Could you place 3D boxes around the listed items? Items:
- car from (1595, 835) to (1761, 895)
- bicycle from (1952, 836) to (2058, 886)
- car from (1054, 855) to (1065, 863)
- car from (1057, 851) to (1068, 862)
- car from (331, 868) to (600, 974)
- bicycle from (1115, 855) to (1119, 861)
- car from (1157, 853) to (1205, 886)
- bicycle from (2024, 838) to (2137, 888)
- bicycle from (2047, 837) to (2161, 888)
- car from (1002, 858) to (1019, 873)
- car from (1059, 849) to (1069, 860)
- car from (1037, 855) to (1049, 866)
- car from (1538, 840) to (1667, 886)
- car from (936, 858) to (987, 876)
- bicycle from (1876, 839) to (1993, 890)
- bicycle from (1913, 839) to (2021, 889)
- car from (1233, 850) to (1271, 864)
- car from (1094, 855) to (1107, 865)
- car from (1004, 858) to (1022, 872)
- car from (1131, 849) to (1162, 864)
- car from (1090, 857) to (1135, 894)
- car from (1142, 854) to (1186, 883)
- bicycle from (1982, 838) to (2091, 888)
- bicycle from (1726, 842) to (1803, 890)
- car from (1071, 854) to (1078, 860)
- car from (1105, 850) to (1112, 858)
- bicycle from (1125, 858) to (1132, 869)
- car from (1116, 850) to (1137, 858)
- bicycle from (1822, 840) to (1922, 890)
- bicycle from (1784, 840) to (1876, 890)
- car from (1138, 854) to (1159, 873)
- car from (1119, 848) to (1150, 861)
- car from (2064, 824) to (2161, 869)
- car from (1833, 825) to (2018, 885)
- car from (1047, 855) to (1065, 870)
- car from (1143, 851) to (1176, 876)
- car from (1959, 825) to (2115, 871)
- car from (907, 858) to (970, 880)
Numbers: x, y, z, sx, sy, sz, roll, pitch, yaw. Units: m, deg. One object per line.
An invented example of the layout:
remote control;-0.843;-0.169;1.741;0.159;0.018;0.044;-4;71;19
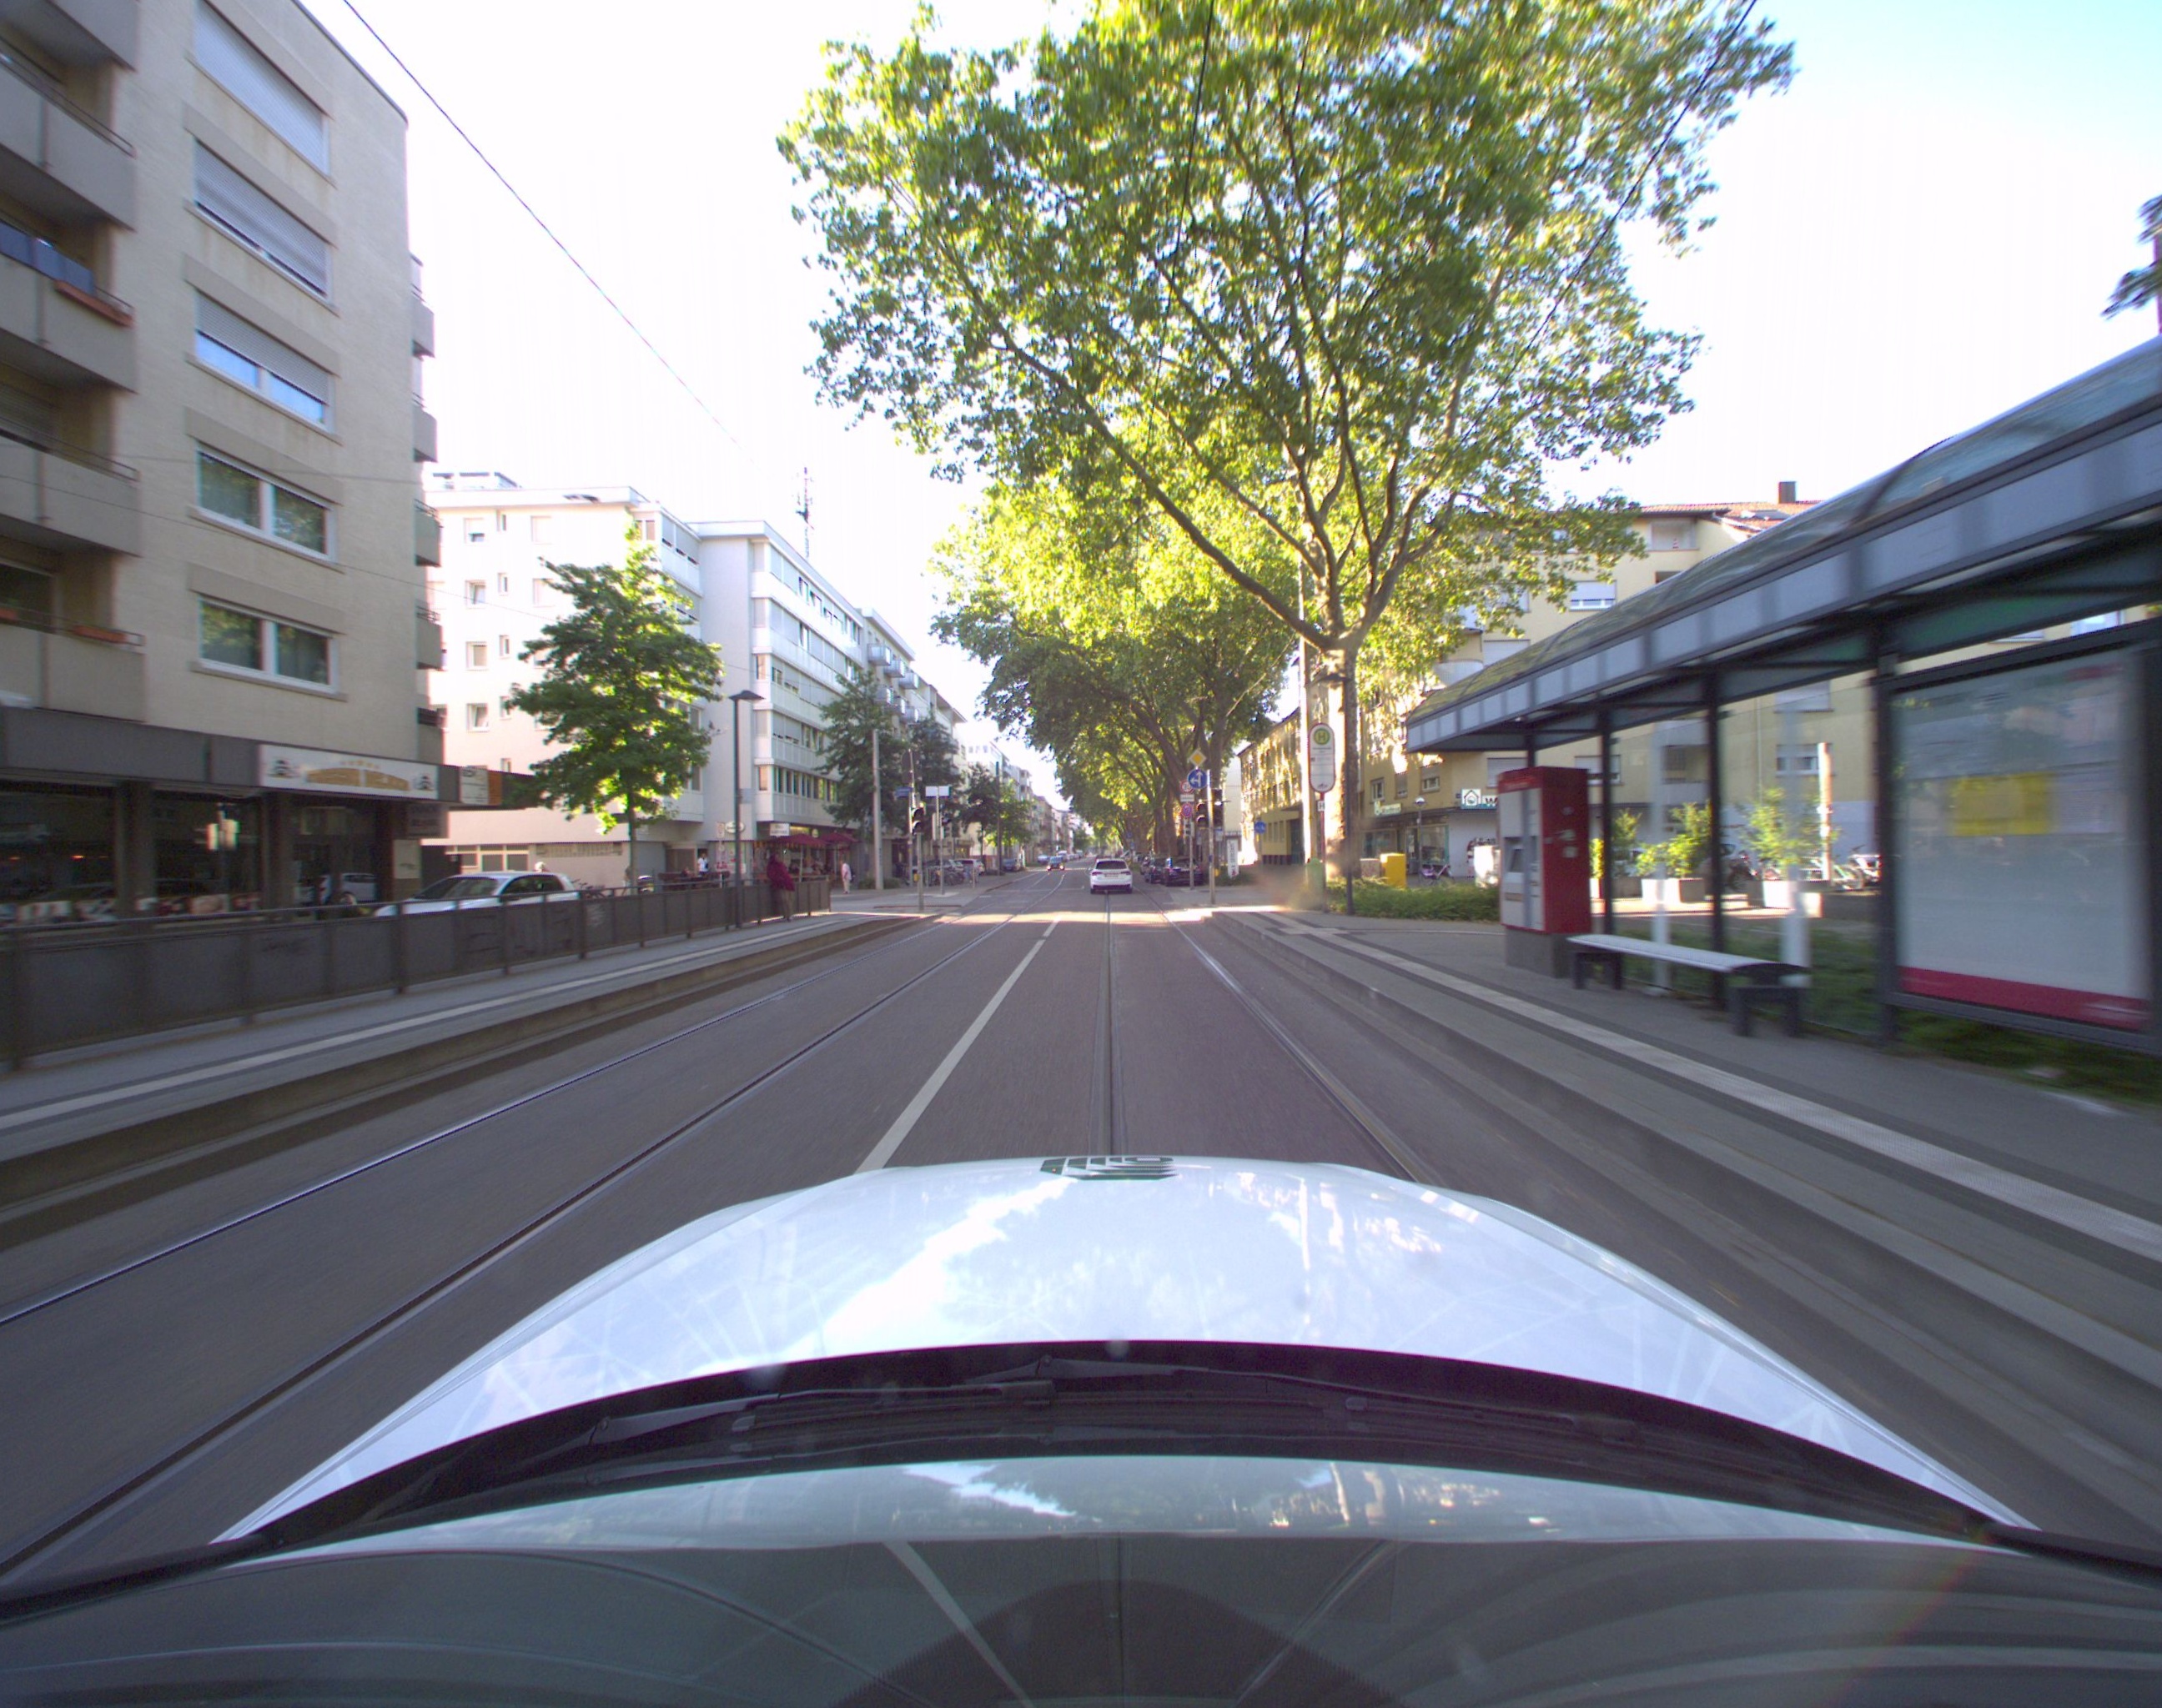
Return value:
car;18.795;0.332;25.767;3.848;1.693;1.866;-2;0;1
bicycle;22.932;0.167;20.260;0.658;1.156;1.698;-3;0;1
car;-4.712;1.087;178.939;1.986;1.530;4.002;-2;0;2
car;-4.301;0.604;190.665;2.170;2.597;4.951;-2;0;2
car;-11.757;1.179;16.028;1.871;1.651;4.358;-2;0;1
bicycle;6.306;0.679;142.186;0.647;1.071;1.583;-2;0;0
car;4.880;0.714;40.313;1.759;1.462;5.011;-2;0;0
bicycle;24.322;0.216;19.870;0.561;1.156;1.696;-3;0;-3
bicycle;24.970;0.210;19.896;0.519;1.156;1.692;-3;0;-9
car;-7.369;1.148;84.792;1.710;1.464;3.992;2;0;-5
car;-4.377;0.182;209.348;2.334;2.861;4.002;-2;0;2
car;-6.257;1.052;134.035;1.697;1.650;4.241;1;0;0
car;20.189;0.315;31.633;3.848;1.552;1.867;-2;2;1
car;-10.029;1.067;68.374;4.001;1.475;1.851;0;-1;-1
bicycle;21.138;0.251;20.242;0.727;1.156;2.052;-3;0;2
bicycle;22.087;0.241;20.356;0.658;1.156;1.851;-3;0;1
car;20.960;0.315;99.910;4.123;1.593;1.997;-1;0;-4
car;2.955;0.881;122.678;1.755;1.475;4.002;-2;0;2
car;-7.435;1.183;89.581;1.709;1.464;4.373;2;0;-2
car;9.765;0.341;121.767;4.530;2.076;2.000;-2;0;-1
car;1.271;0.849;34.180;1.756;1.384;4.000;-2;0;0
car;4.546;0.785;45.298;1.859;1.437;4.223;-3;0;-2
bicycle;23.656;0.227;20.206;0.658;1.156;1.698;-3;0;1
bicycle;17.534;0.286;20.933;0.597;1.156;1.700;-3;0;5
car;-1.939;0.914;246.976;1.986;1.640;4.001;0;-1;2
car;8.785;-0.106;261.184;2.194;2.388;4.002;-2;0;2
bicycle;4.874;0.955;84.232;0.679;1.071;1.782;-2;0;2
car;13.910;-0.034;247.595;6.111;2.282;2.529;-2;0;-1
bicycle;19.858;0.259;20.499;0.633;1.156;1.984;-3;0;4
bicycle;18.610;0.269;20.286;0.598;1.156;1.696;-3;0;-3
car;5.560;0.783;67.232;1.557;1.519;2.913;-3;-1;4
car;11.033;0.139;168.762;6.111;2.635;2.529;-2;0;-1
car;40.973;-0.310;31.401;3.848;1.552;1.867;-2;2;1
car;26.653;0.025;25.808;3.848;1.693;1.866;-2;0;1
car;-2.778;0.886;90.170;1.865;1.590;4.146;1;0;0
car;5.478;0.685;57.236;1.852;1.603;4.781;-3;-1;0
car;36.894;-0.259;31.510;3.848;1.552;1.867;-2;2;1
car;-9.884;1.037;56.672;3.997;1.475;1.852;0;-1;2
